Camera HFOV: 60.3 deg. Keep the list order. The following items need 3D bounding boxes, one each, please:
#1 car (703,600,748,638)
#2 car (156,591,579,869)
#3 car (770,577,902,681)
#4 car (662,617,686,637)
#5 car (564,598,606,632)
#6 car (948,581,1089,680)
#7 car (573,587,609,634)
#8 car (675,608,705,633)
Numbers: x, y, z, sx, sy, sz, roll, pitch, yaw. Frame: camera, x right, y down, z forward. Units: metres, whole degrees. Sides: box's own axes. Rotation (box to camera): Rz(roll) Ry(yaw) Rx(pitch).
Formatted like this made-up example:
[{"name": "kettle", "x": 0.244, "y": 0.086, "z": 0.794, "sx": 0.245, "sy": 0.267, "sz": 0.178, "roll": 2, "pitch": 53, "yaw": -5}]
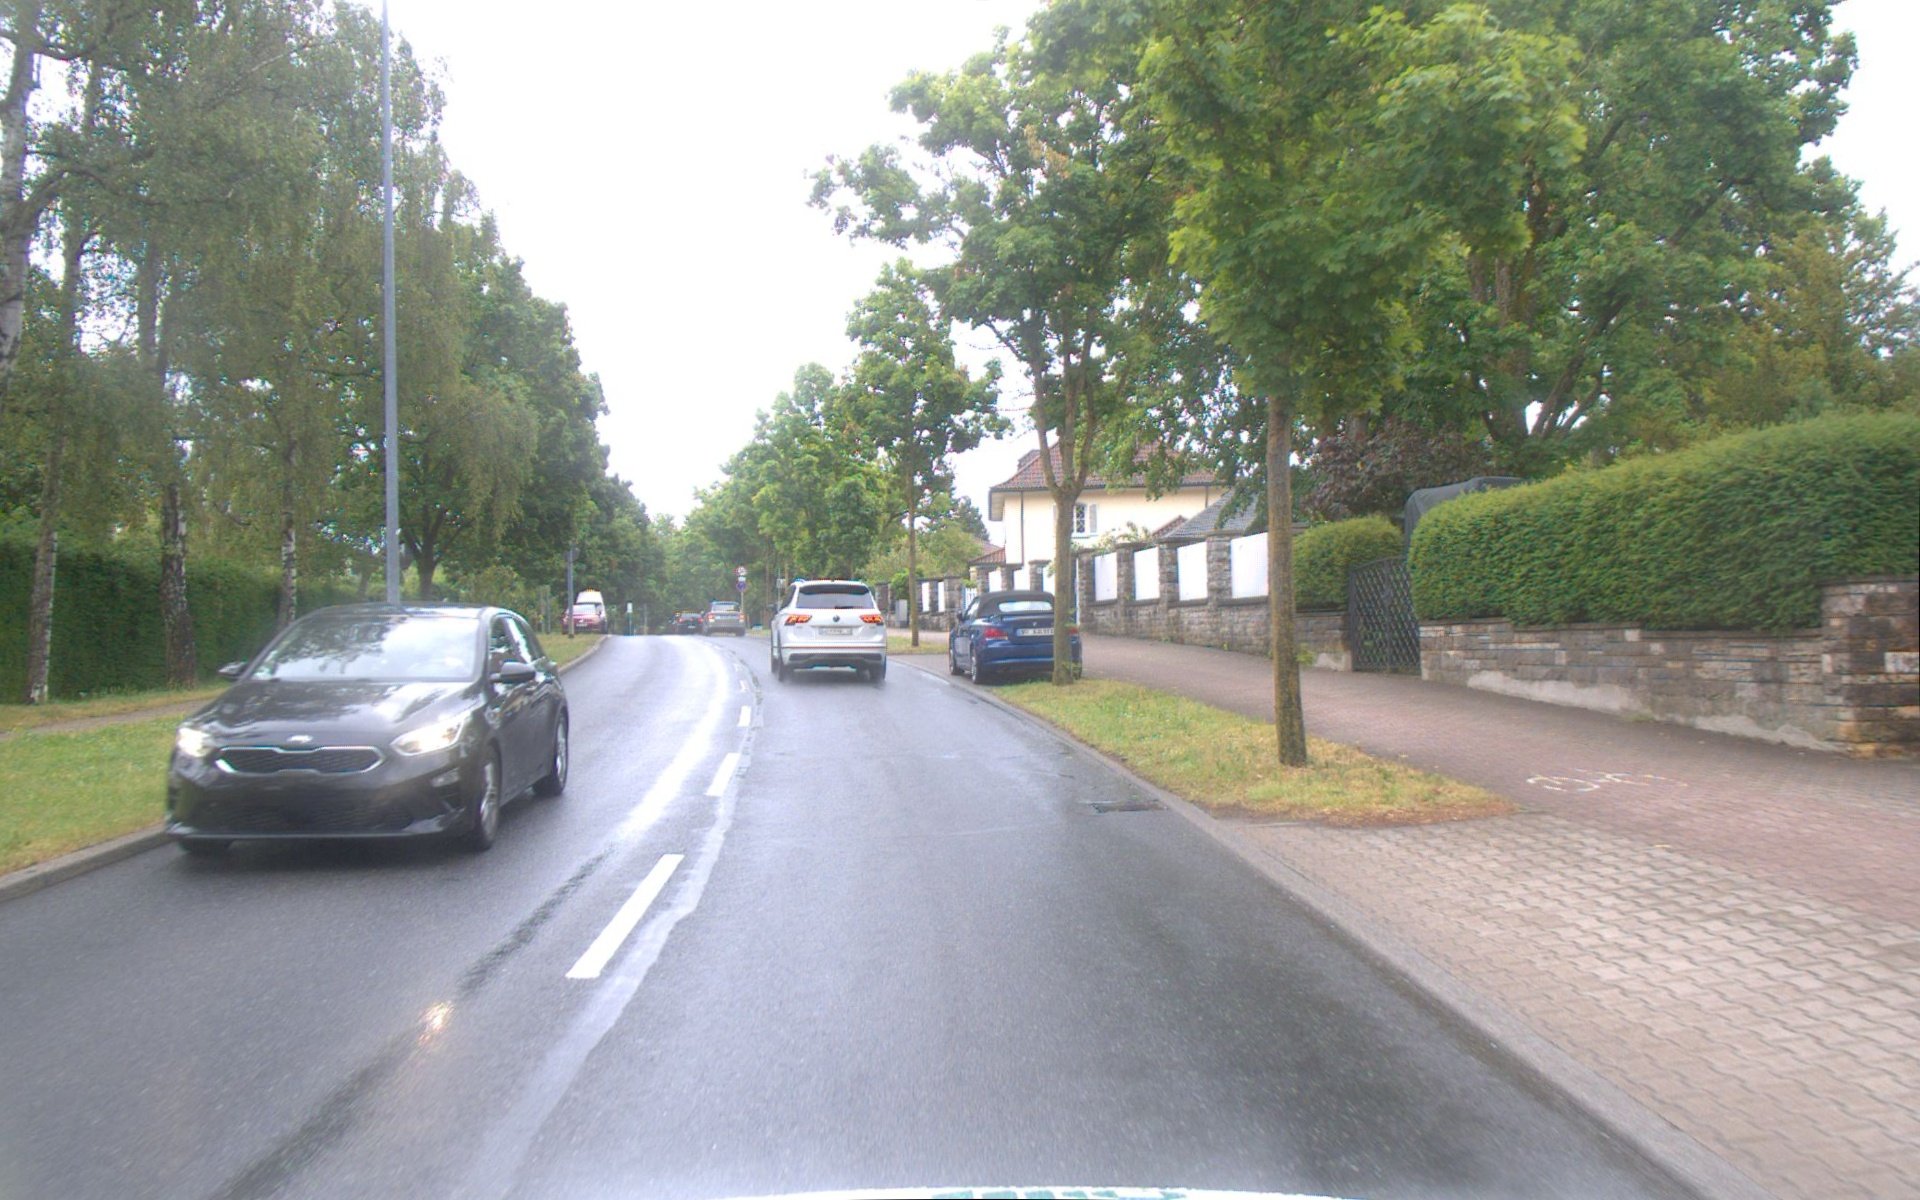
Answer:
[{"name": "car", "x": -10.096, "y": 0.788, "z": 71.056, "sx": 1.807, "sy": 1.513, "sz": 3.991, "roll": 1, "pitch": 1, "yaw": -10}, {"name": "car", "x": -3.659, "y": 0.691, "z": 10.986, "sx": 1.721, "sy": 1.466, "sz": 4.151, "roll": 0, "pitch": 0, "yaw": -7}, {"name": "car", "x": -2.226, "y": 0.433, "z": 28.717, "sx": 1.960, "sy": 1.660, "sz": 3.991, "roll": 0, "pitch": 1, "yaw": -9}, {"name": "car", "x": -22.326, "y": 2.086, "z": 129.154, "sx": 1.818, "sy": 1.442, "sz": 4.216, "roll": 1, "pitch": 1, "yaw": -10}, {"name": "car", "x": -17.266, "y": 0.699, "z": 76.221, "sx": 1.811, "sy": 1.491, "sz": 4.236, "roll": -1, "pitch": -1, "yaw": -12}, {"name": "car", "x": 0.872, "y": 0.455, "z": 26.806, "sx": 1.611, "sy": 1.401, "sz": 3.822, "roll": -3, "pitch": 0, "yaw": -8}, {"name": "car", "x": -21.507, "y": 0.656, "z": 96.577, "sx": 1.959, "sy": 2.606, "sz": 5.216, "roll": -1, "pitch": -1, "yaw": -12}, {"name": "car", "x": -17.124, "y": 1.291, "z": 104.711, "sx": 1.818, "sy": 1.442, "sz": 4.216, "roll": 1, "pitch": 1, "yaw": -10}]
